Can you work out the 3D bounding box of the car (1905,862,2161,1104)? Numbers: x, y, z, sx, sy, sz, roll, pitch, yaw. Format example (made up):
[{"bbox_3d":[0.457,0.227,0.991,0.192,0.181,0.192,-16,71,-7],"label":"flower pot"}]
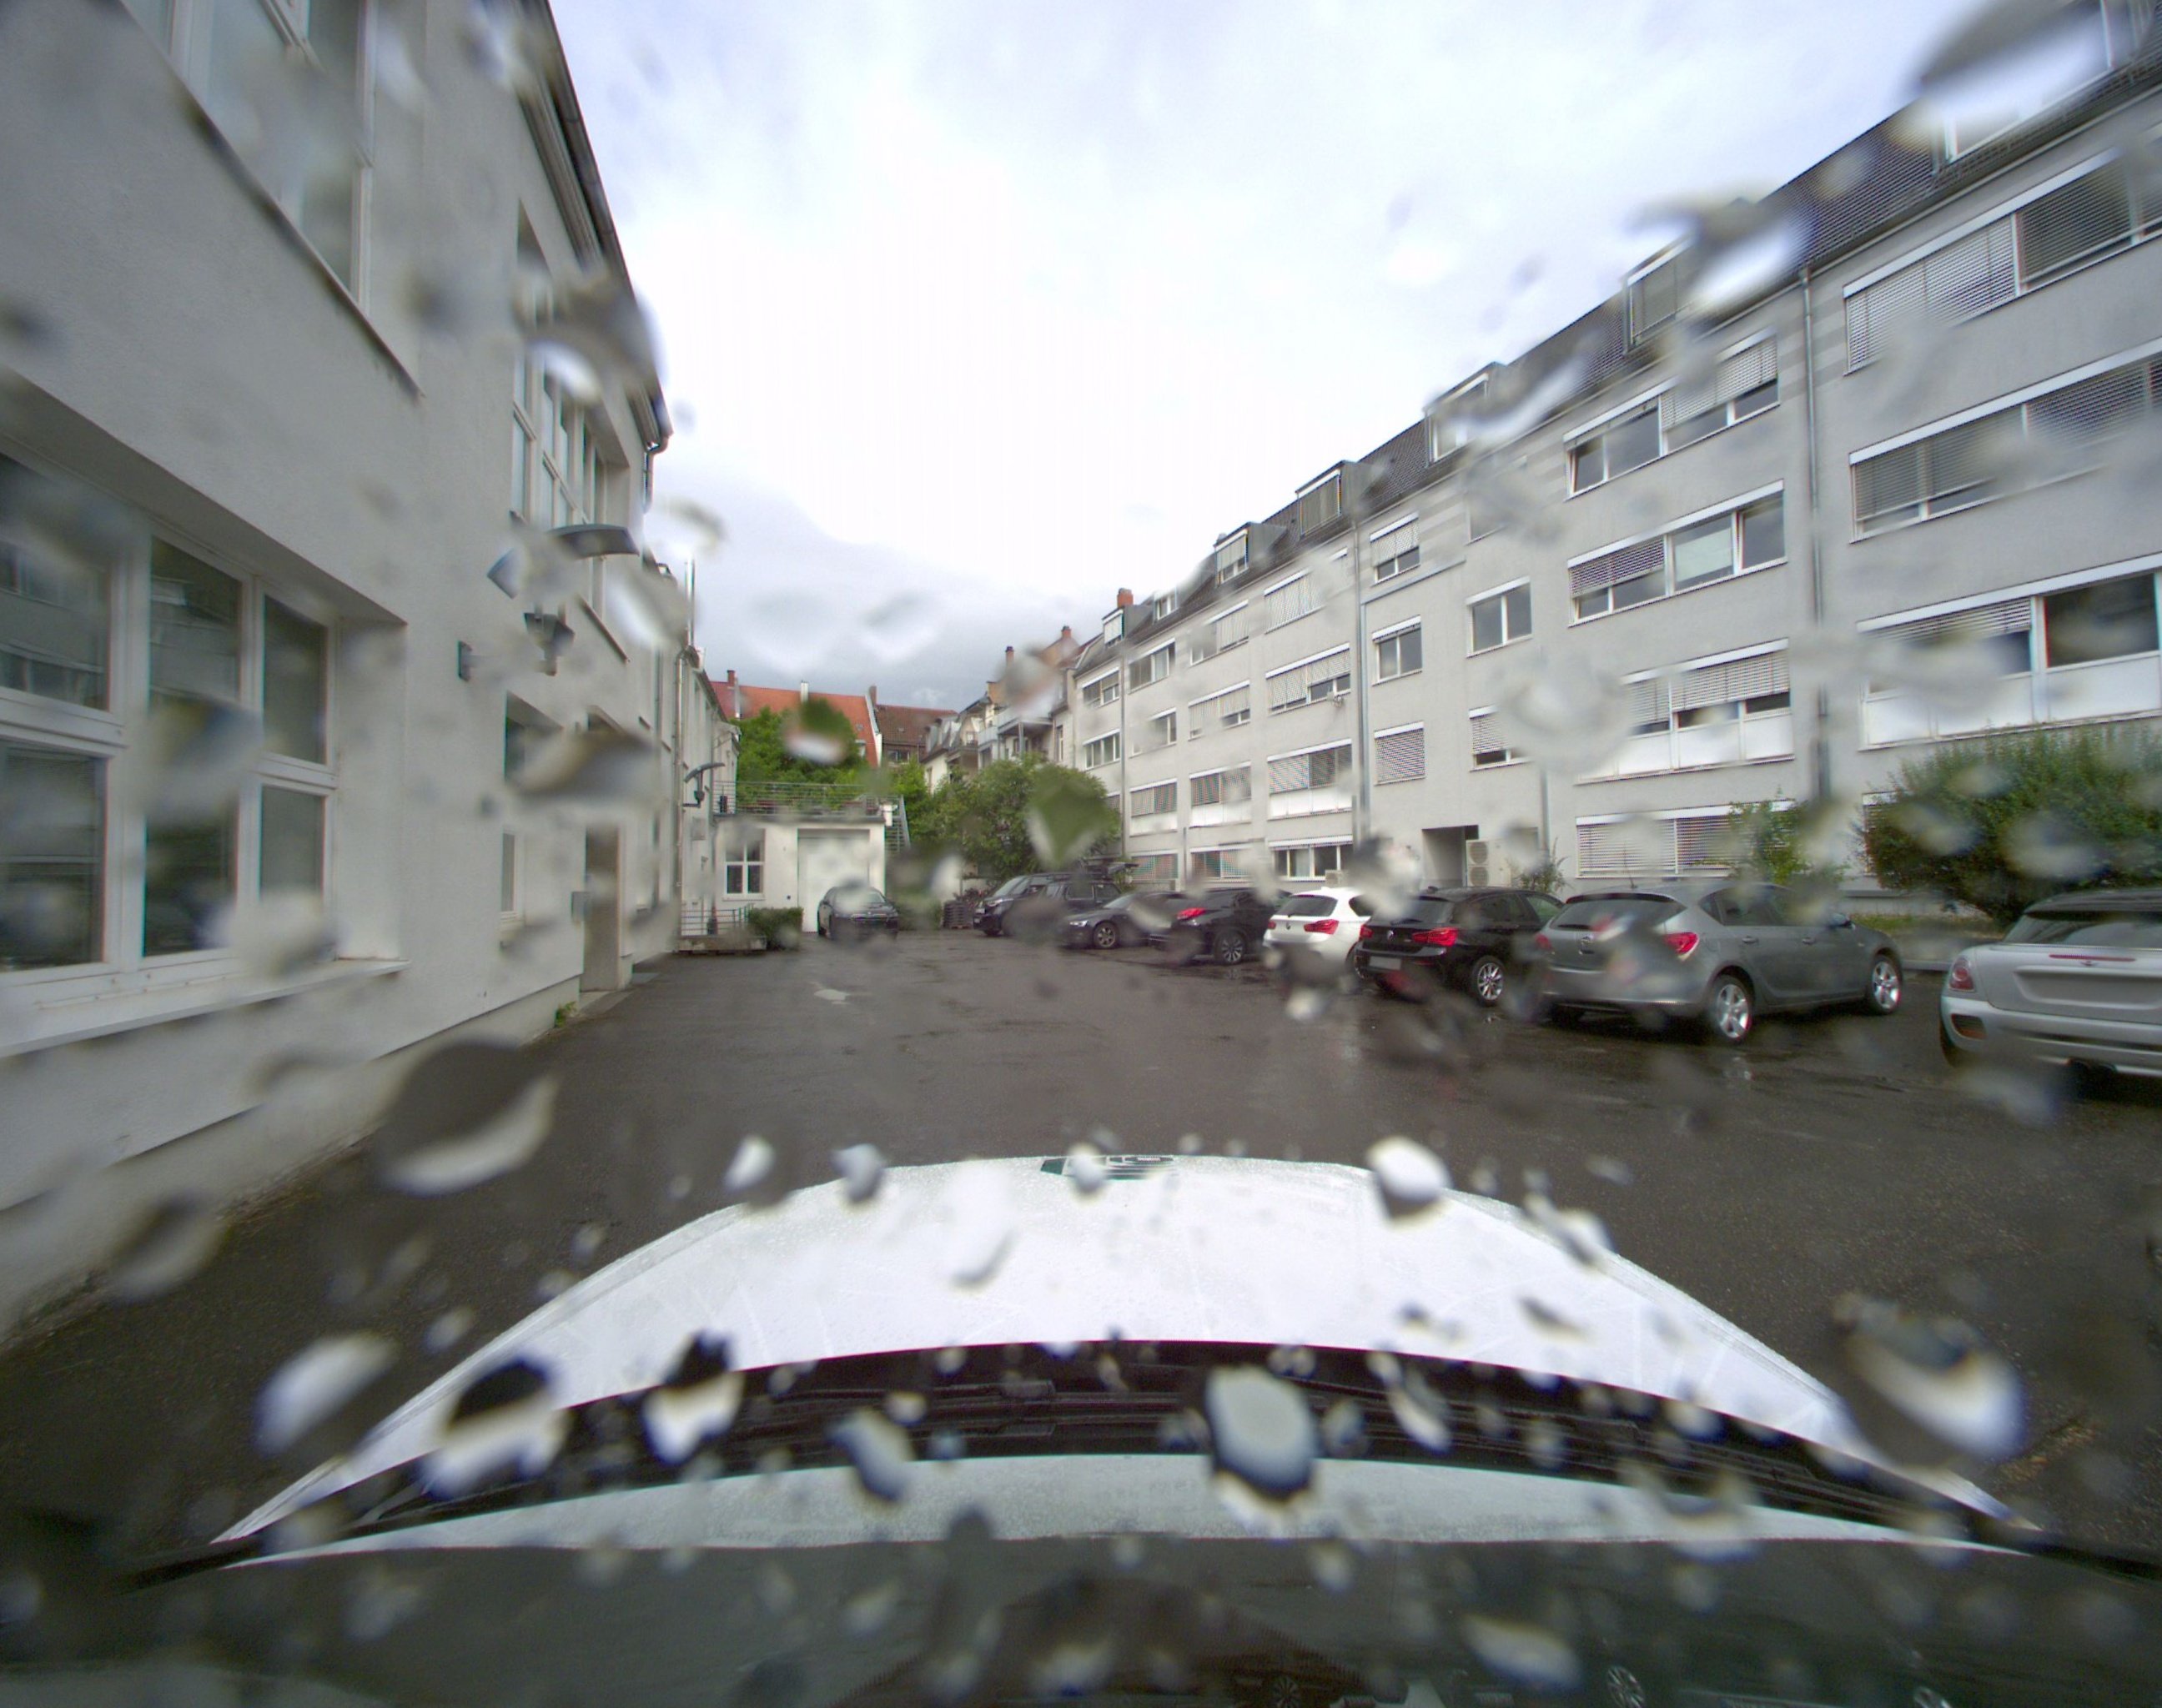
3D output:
[{"bbox_3d":[8.176,0.811,6.045,3.430,1.427,1.675,-2,-2,-23],"label":"car"}]

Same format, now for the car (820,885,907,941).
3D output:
[{"bbox_3d":[-6.381,1.629,23.565,1.987,1.444,3.970,0,-2,-22],"label":"car"}]

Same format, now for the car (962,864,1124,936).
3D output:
[{"bbox_3d":[-1.183,1.395,25.949,4.665,2.003,2.203,-1,-1,-30],"label":"car"}]

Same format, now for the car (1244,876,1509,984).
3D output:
[{"bbox_3d":[4.871,1.151,13.408,4.007,1.458,1.758,-1,-2,-25],"label":"car"}]

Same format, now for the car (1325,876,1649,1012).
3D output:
[{"bbox_3d":[5.487,1.080,10.994,4.006,1.403,1.758,-2,-1,-25],"label":"car"}]

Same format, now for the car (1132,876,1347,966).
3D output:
[{"bbox_3d":[3.201,1.265,16.369,3.930,1.514,1.803,-1,-2,-27],"label":"car"}]

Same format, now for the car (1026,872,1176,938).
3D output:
[{"bbox_3d":[0.561,1.435,23.650,3.924,1.687,1.804,-1,-2,-22],"label":"car"}]

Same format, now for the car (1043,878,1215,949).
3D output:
[{"bbox_3d":[1.200,1.443,20.407,3.928,1.514,1.737,-1,-2,-25],"label":"car"}]

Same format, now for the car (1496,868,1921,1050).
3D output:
[{"bbox_3d":[6.601,0.943,8.588,4.004,1.446,1.792,-1,-2,-23],"label":"car"}]
